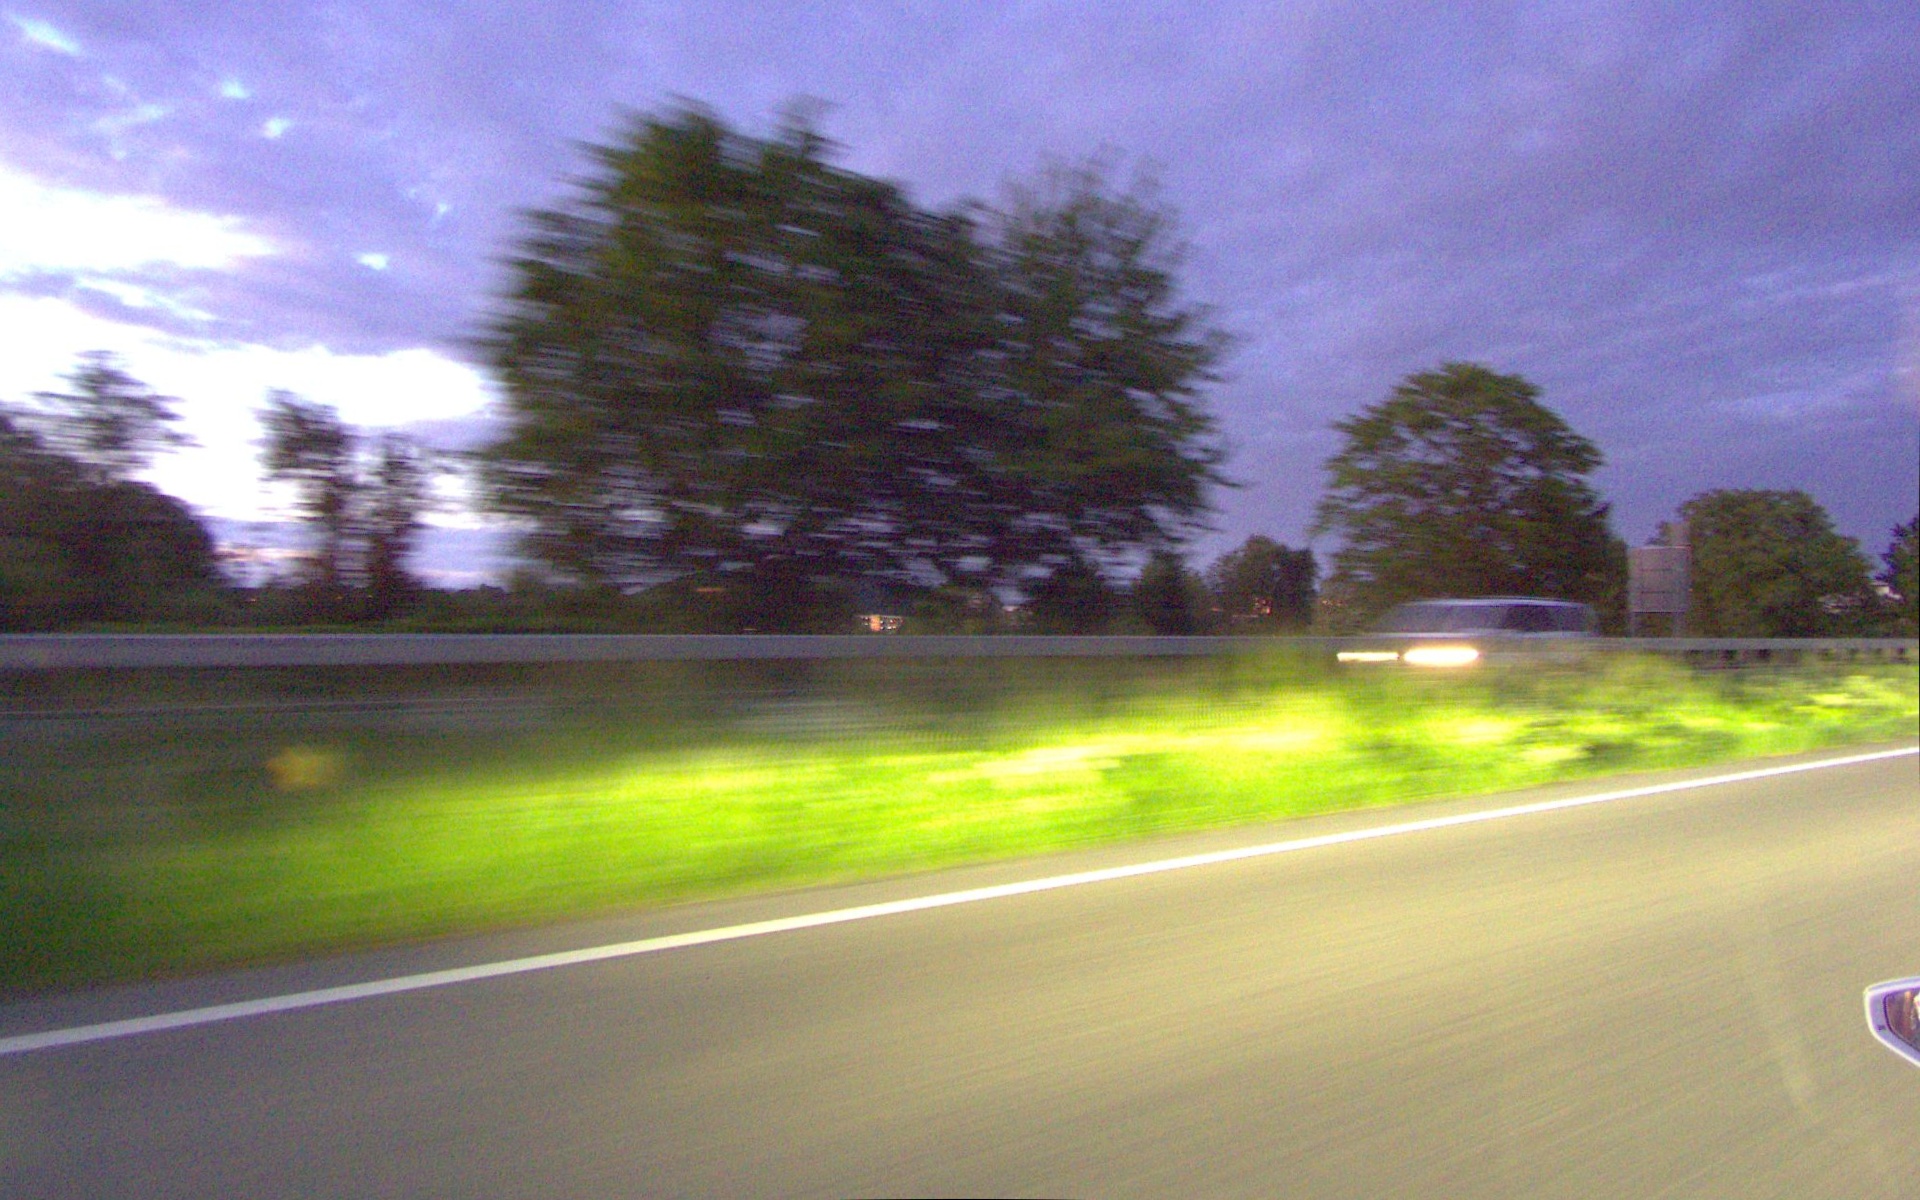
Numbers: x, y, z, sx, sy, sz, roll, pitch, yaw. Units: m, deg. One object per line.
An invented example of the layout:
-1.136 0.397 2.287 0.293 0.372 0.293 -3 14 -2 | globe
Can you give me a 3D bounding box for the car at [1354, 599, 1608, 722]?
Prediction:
10.305 1.135 19.733 5.287 2.127 1.955 2 0 -31 | car
